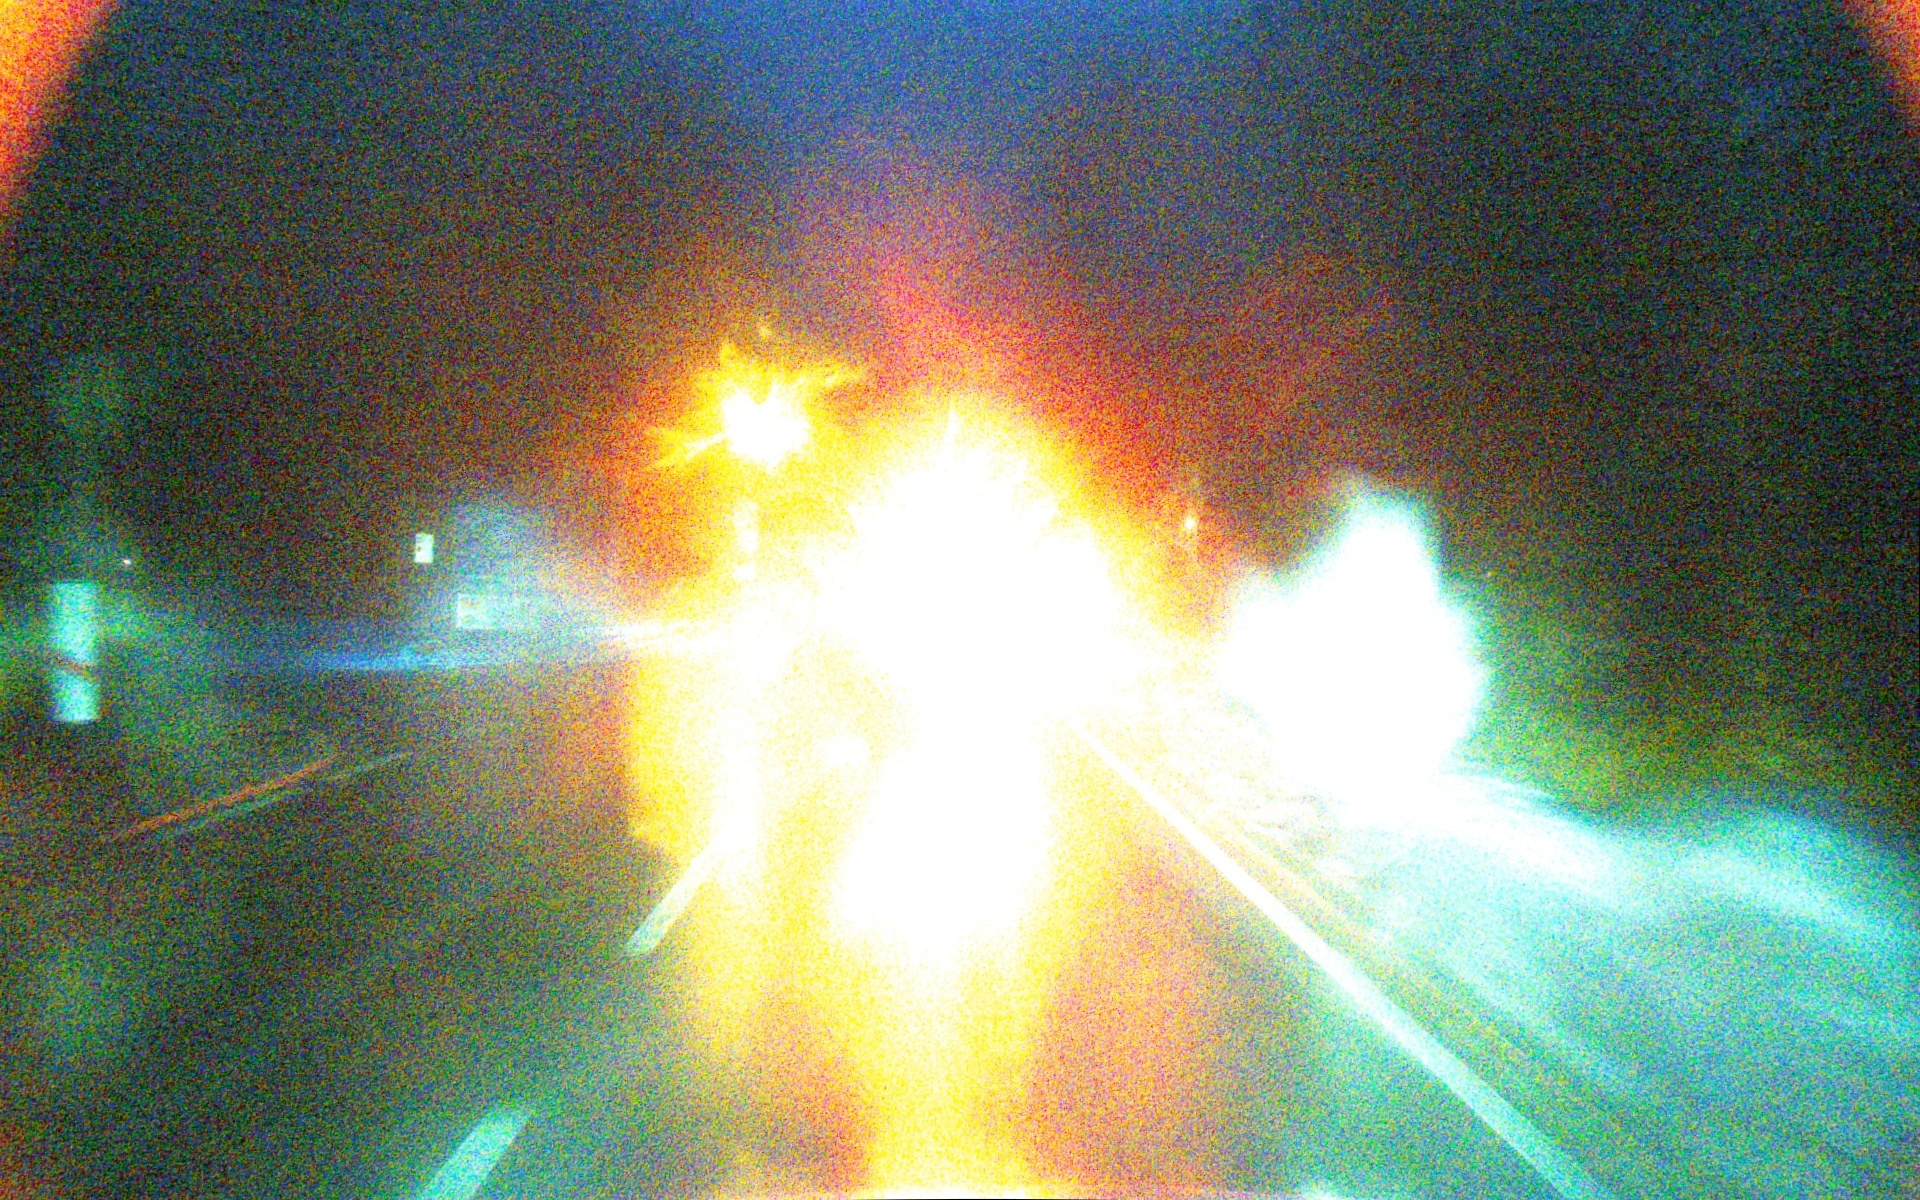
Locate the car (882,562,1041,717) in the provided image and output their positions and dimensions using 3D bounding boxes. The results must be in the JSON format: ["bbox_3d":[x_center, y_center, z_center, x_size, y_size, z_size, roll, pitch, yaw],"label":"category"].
[{"bbox_3d":[0.065,0.419,20.391,1.754,1.711,3.905,1,0,1],"label":"car"}]
